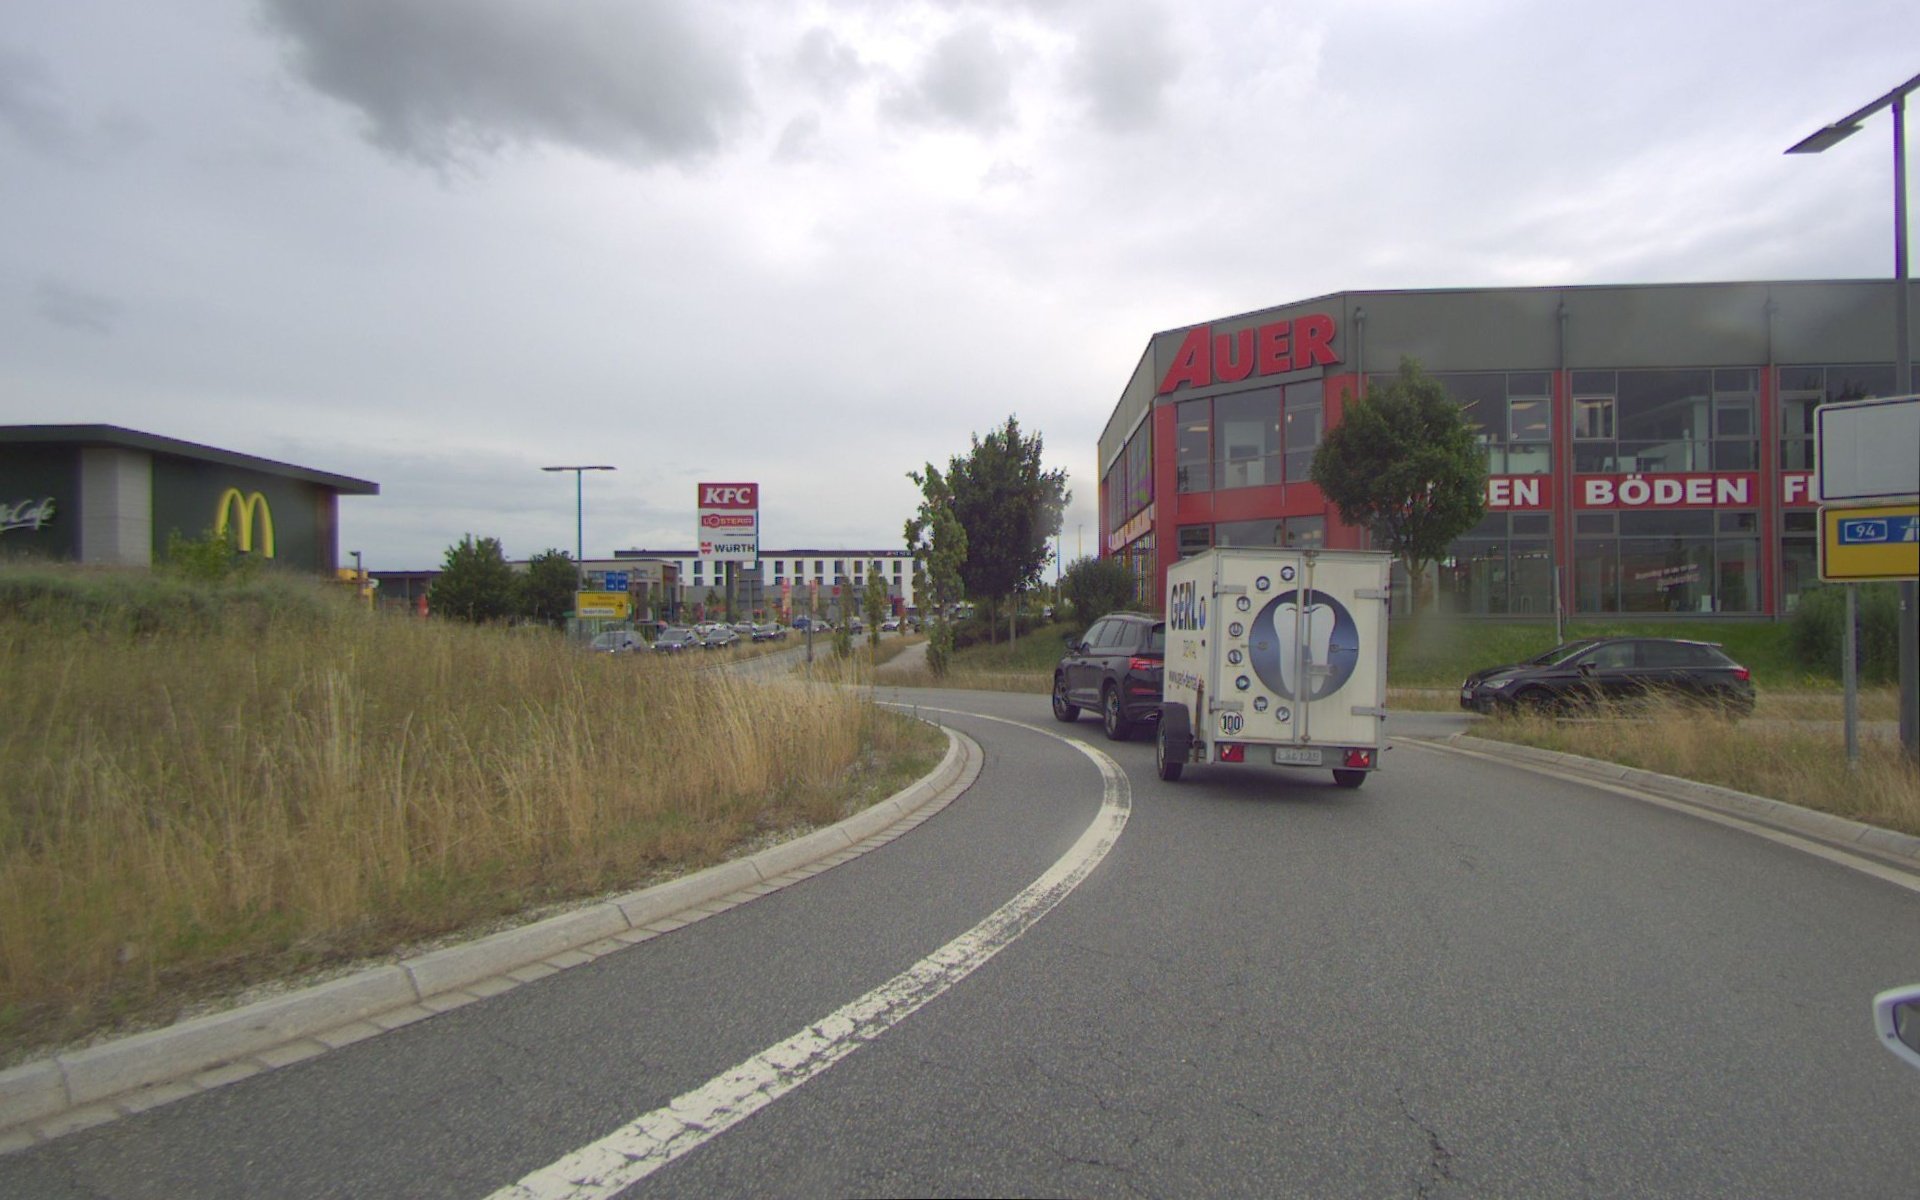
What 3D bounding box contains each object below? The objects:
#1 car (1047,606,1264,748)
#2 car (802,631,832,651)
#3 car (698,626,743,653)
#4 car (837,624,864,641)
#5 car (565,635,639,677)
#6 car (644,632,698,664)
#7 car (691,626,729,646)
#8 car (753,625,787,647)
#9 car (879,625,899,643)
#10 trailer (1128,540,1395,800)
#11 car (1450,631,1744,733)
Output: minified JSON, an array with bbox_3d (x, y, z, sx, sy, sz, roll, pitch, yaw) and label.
[{"bbox_3d":[2.558,0.994,14.376,1.783,1.692,4.612,0,-2,-6],"label":"car"},{"bbox_3d":[-13.313,3.799,93.778,1.960,1.654,4.002,1,-1,5],"label":"car"},{"bbox_3d":[-15.253,2.505,64.111,1.903,1.617,3.772,1,0,1],"label":"car"},{"bbox_3d":[-11.337,3.399,104.173,1.959,1.654,4.002,1,-1,6],"label":"car"},{"bbox_3d":[-16.210,2.517,45.661,1.859,1.681,4.019,1,0,1],"label":"car"},{"bbox_3d":[-16.032,2.639,55.909,1.800,1.585,3.838,1,0,1],"label":"car"},{"bbox_3d":[-27.978,4.013,112.463,3.695,2.040,1.649,1,0,10],"label":"car"},{"bbox_3d":[-14.937,2.812,79.318,1.903,1.617,3.772,1,0,1],"label":"car"},{"bbox_3d":[-8.458,4.020,119.595,1.738,2.040,4.002,1,-1,4],"label":"car"},{"bbox_3d":[2.824,0.590,10.347,1.776,2.119,4.148,1,0,4],"label":"trailer"},{"bbox_3d":[10.188,1.274,16.339,3.691,1.478,1.646,0,0,11],"label":"car"}]
